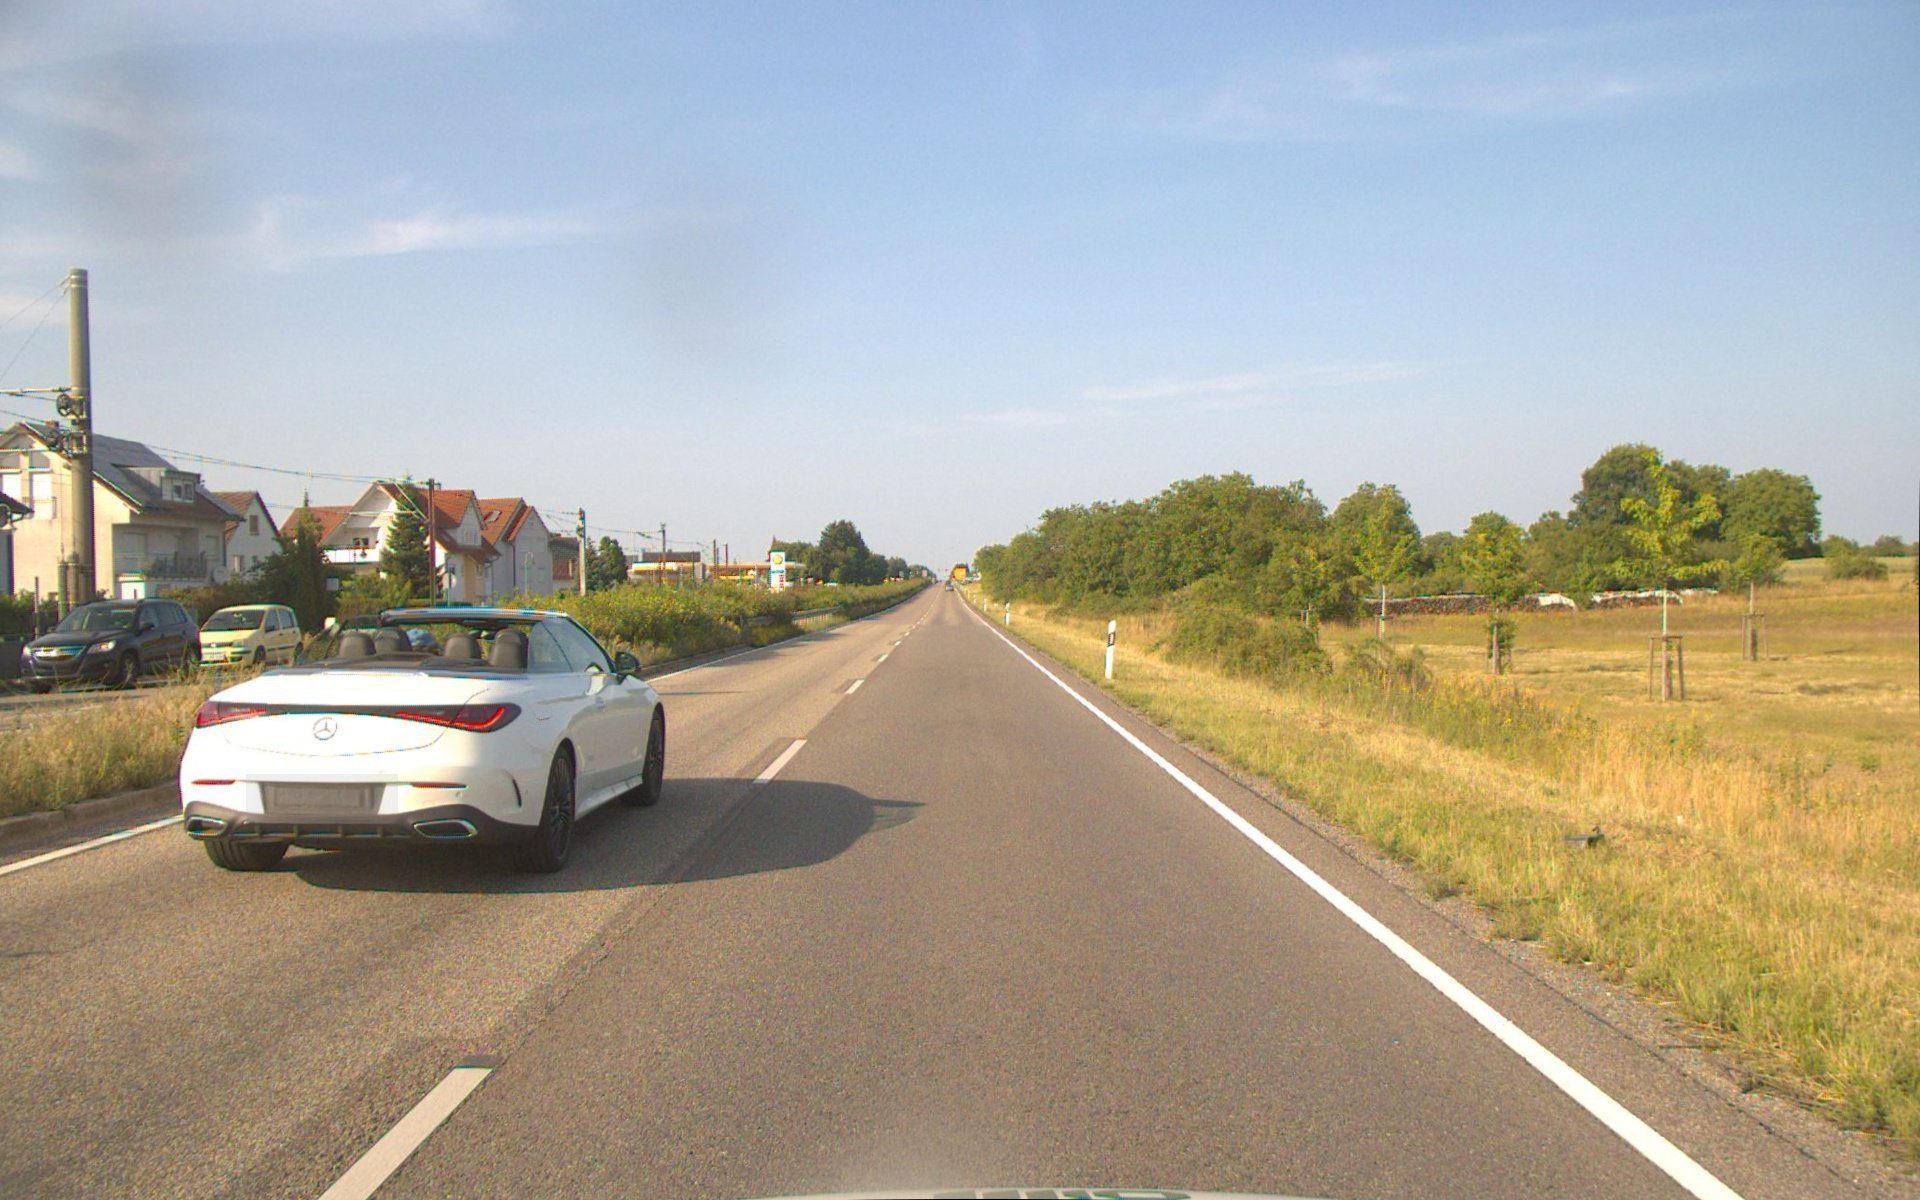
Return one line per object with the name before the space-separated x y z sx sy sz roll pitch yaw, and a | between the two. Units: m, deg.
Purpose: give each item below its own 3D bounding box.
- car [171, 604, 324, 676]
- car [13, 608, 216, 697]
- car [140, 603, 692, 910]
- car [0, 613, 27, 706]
car | -16.342 0.885 38.167 1.626 1.456 4.325 -3 0 -1
car | -15.940 0.932 31.458 1.626 1.456 4.325 -3 0 -1
car | -2.906 0.726 10.097 1.735 1.361 4.950 1 0 0
car | -15.844 0.985 24.399 1.626 1.456 4.448 -3 0 -1
